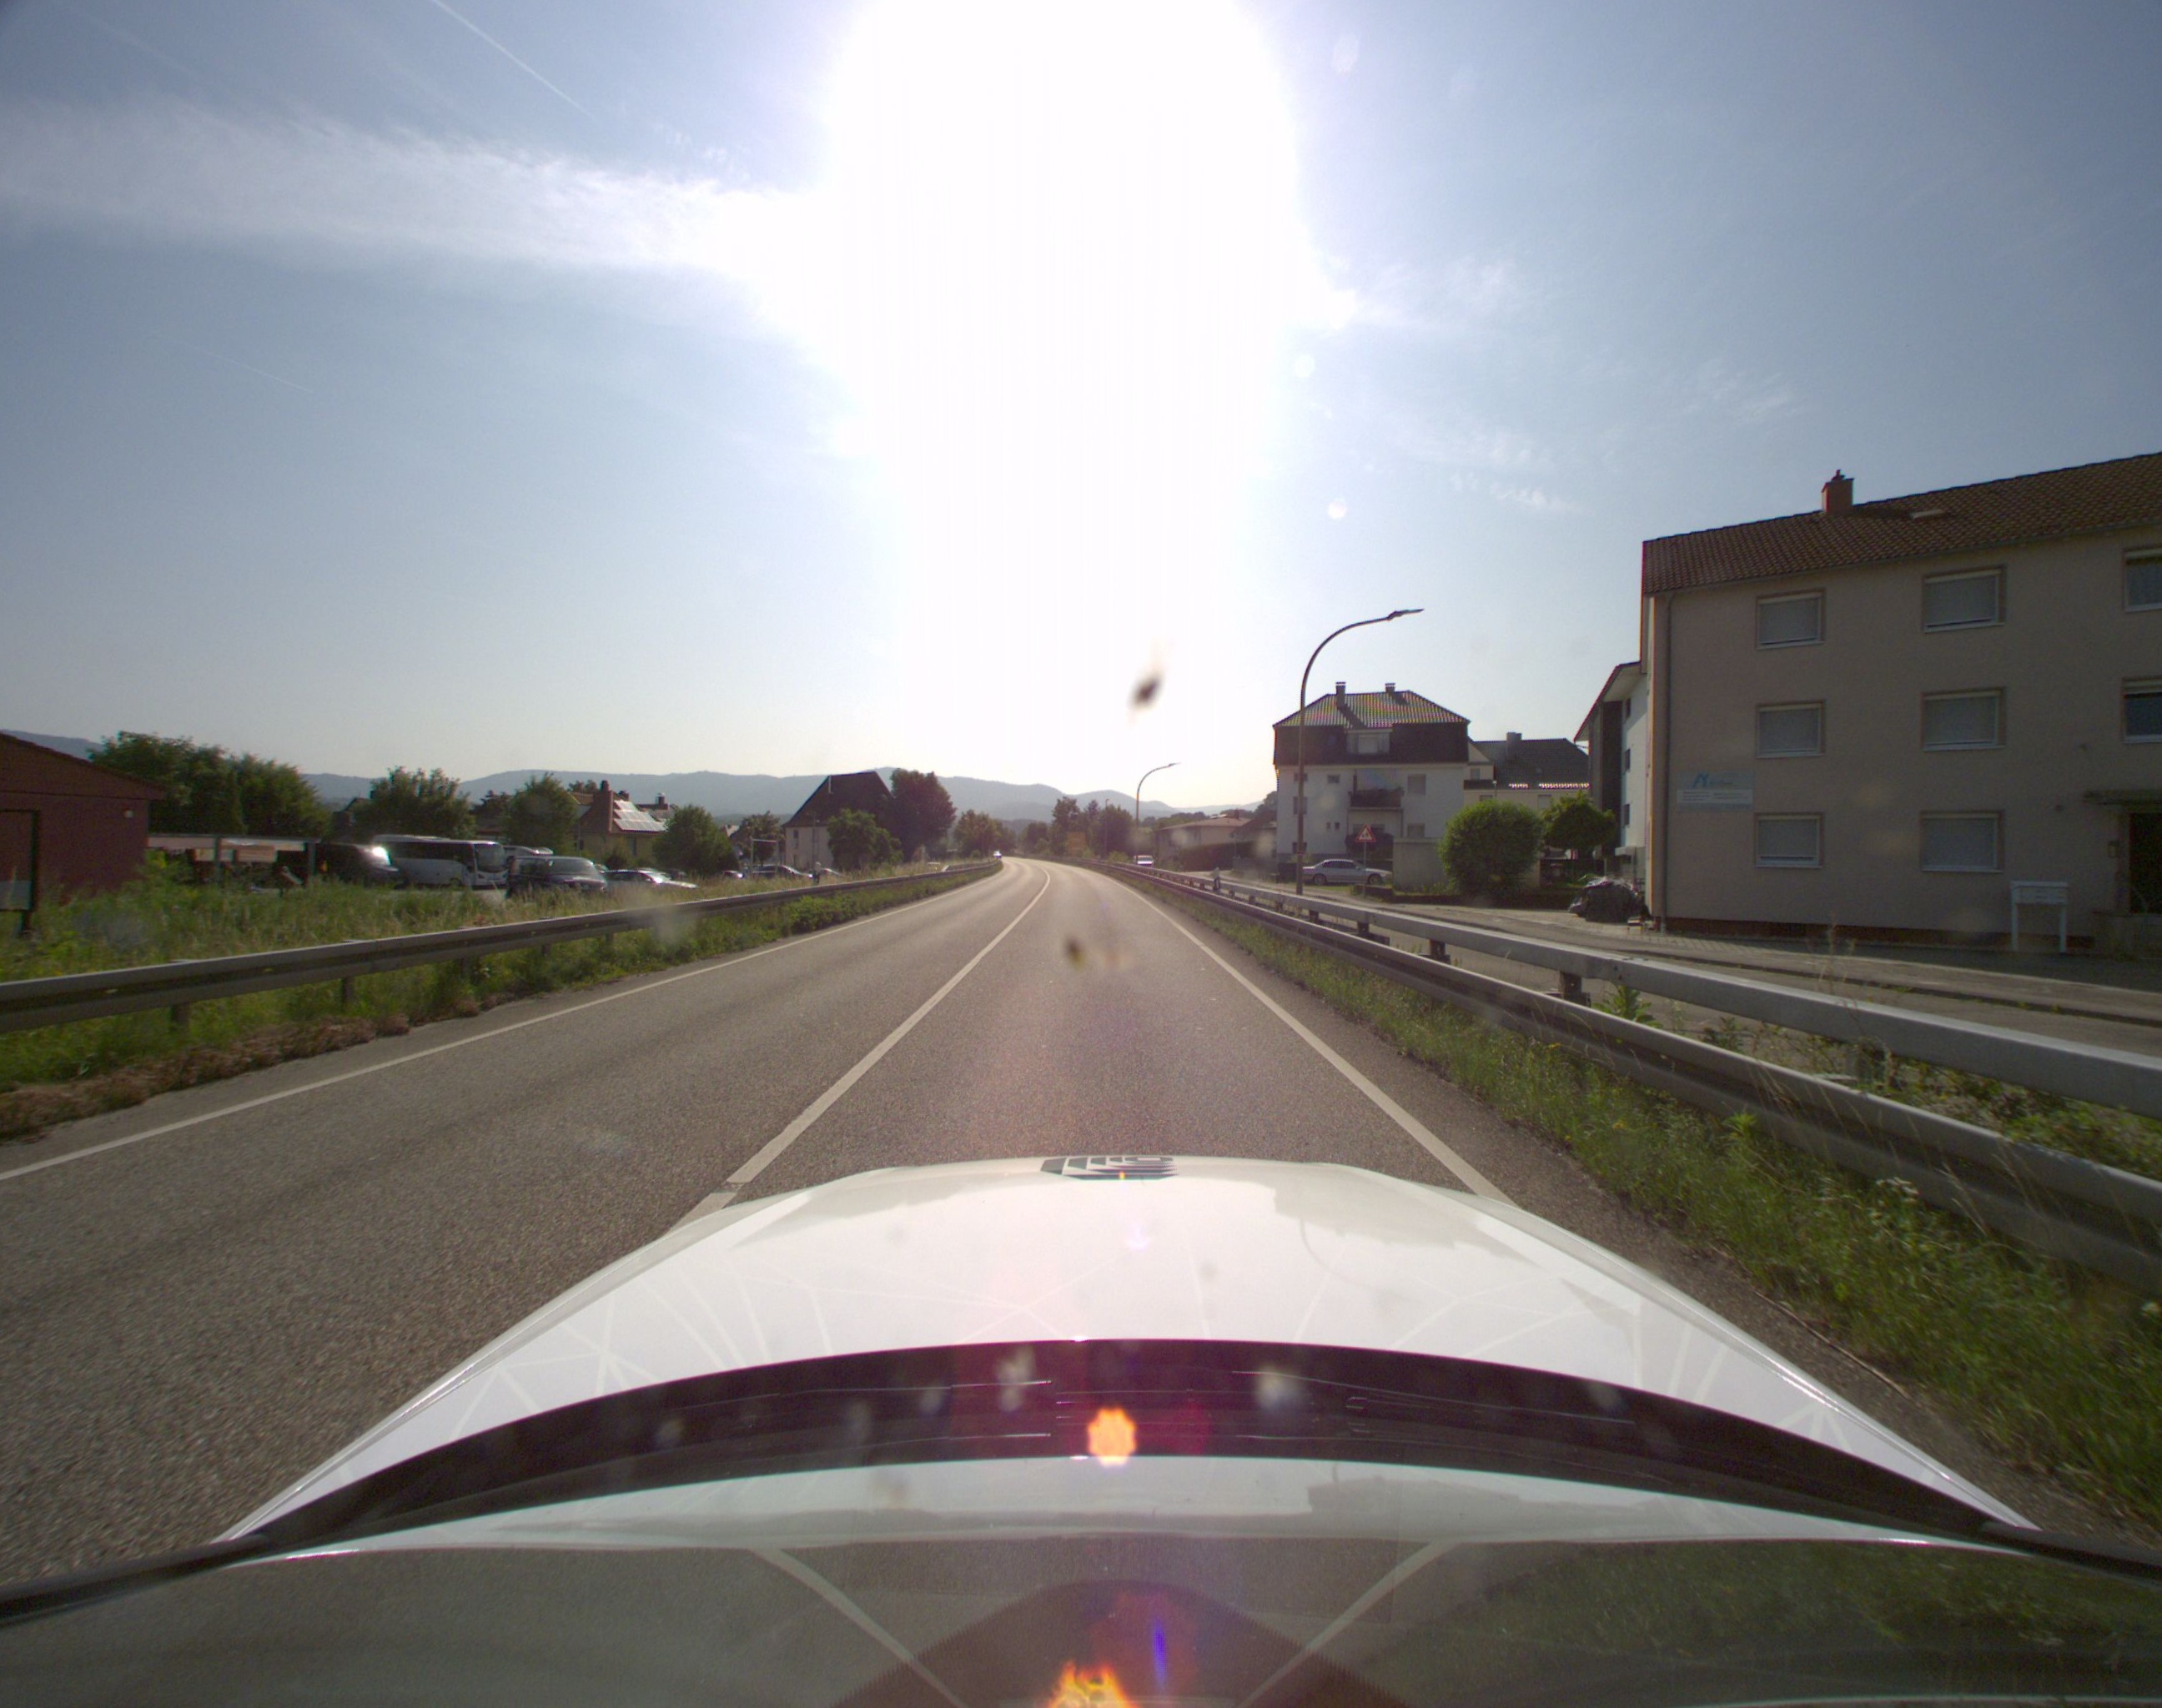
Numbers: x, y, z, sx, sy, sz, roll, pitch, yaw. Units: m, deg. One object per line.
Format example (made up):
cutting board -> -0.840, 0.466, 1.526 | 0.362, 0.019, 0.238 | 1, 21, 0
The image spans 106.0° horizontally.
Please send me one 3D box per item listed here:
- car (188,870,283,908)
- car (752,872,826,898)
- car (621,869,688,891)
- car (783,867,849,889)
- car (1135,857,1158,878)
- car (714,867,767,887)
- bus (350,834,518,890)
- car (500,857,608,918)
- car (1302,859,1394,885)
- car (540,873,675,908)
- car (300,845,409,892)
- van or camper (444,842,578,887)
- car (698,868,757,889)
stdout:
car -> -26.624, 1.079, 25.701 | 0.811, 1.146, 2.017 | 0, -1, 2
car -> -19.597, 2.065, 54.771 | 4.291, 1.665, 1.871 | 0, 0, -4
car -> -35.041, 2.158, 66.975 | 4.531, 1.634, 1.866 | 1, -3, 9
car -> -19.810, 1.790, 61.026 | 4.286, 1.504, 1.874 | 0, 0, -1
car -> 6.555, 1.308, 81.944 | 1.987, 1.945, 5.361 | 0, 0, 0
car -> -31.980, 2.159, 76.566 | 4.133, 1.634, 1.866 | 3, -2, 10
bus -> -41.152, 0.452, 51.914 | 9.052, 3.354, 2.670 | 1, 1, 6
car -> -19.182, 1.122, 29.555 | 4.843, 2.013, 2.012 | 0, 0, 41
car -> 14.695, 1.000, 44.833 | 4.553, 1.348, 1.765 | -1, 1, 26
car -> -19.992, 1.512, 34.536 | 4.608, 1.382, 1.740 | 0, 0, -5
car -> -43.295, 0.845, 48.577 | 4.996, 2.660, 1.865 | 1, 0, 6
van or camper -> -38.618, 0.704, 55.321 | 7.357, 2.842, 2.752 | 1, -1, 6
car -> -31.764, 2.203, 73.164 | 4.527, 1.634, 1.868 | 3, -2, 13
